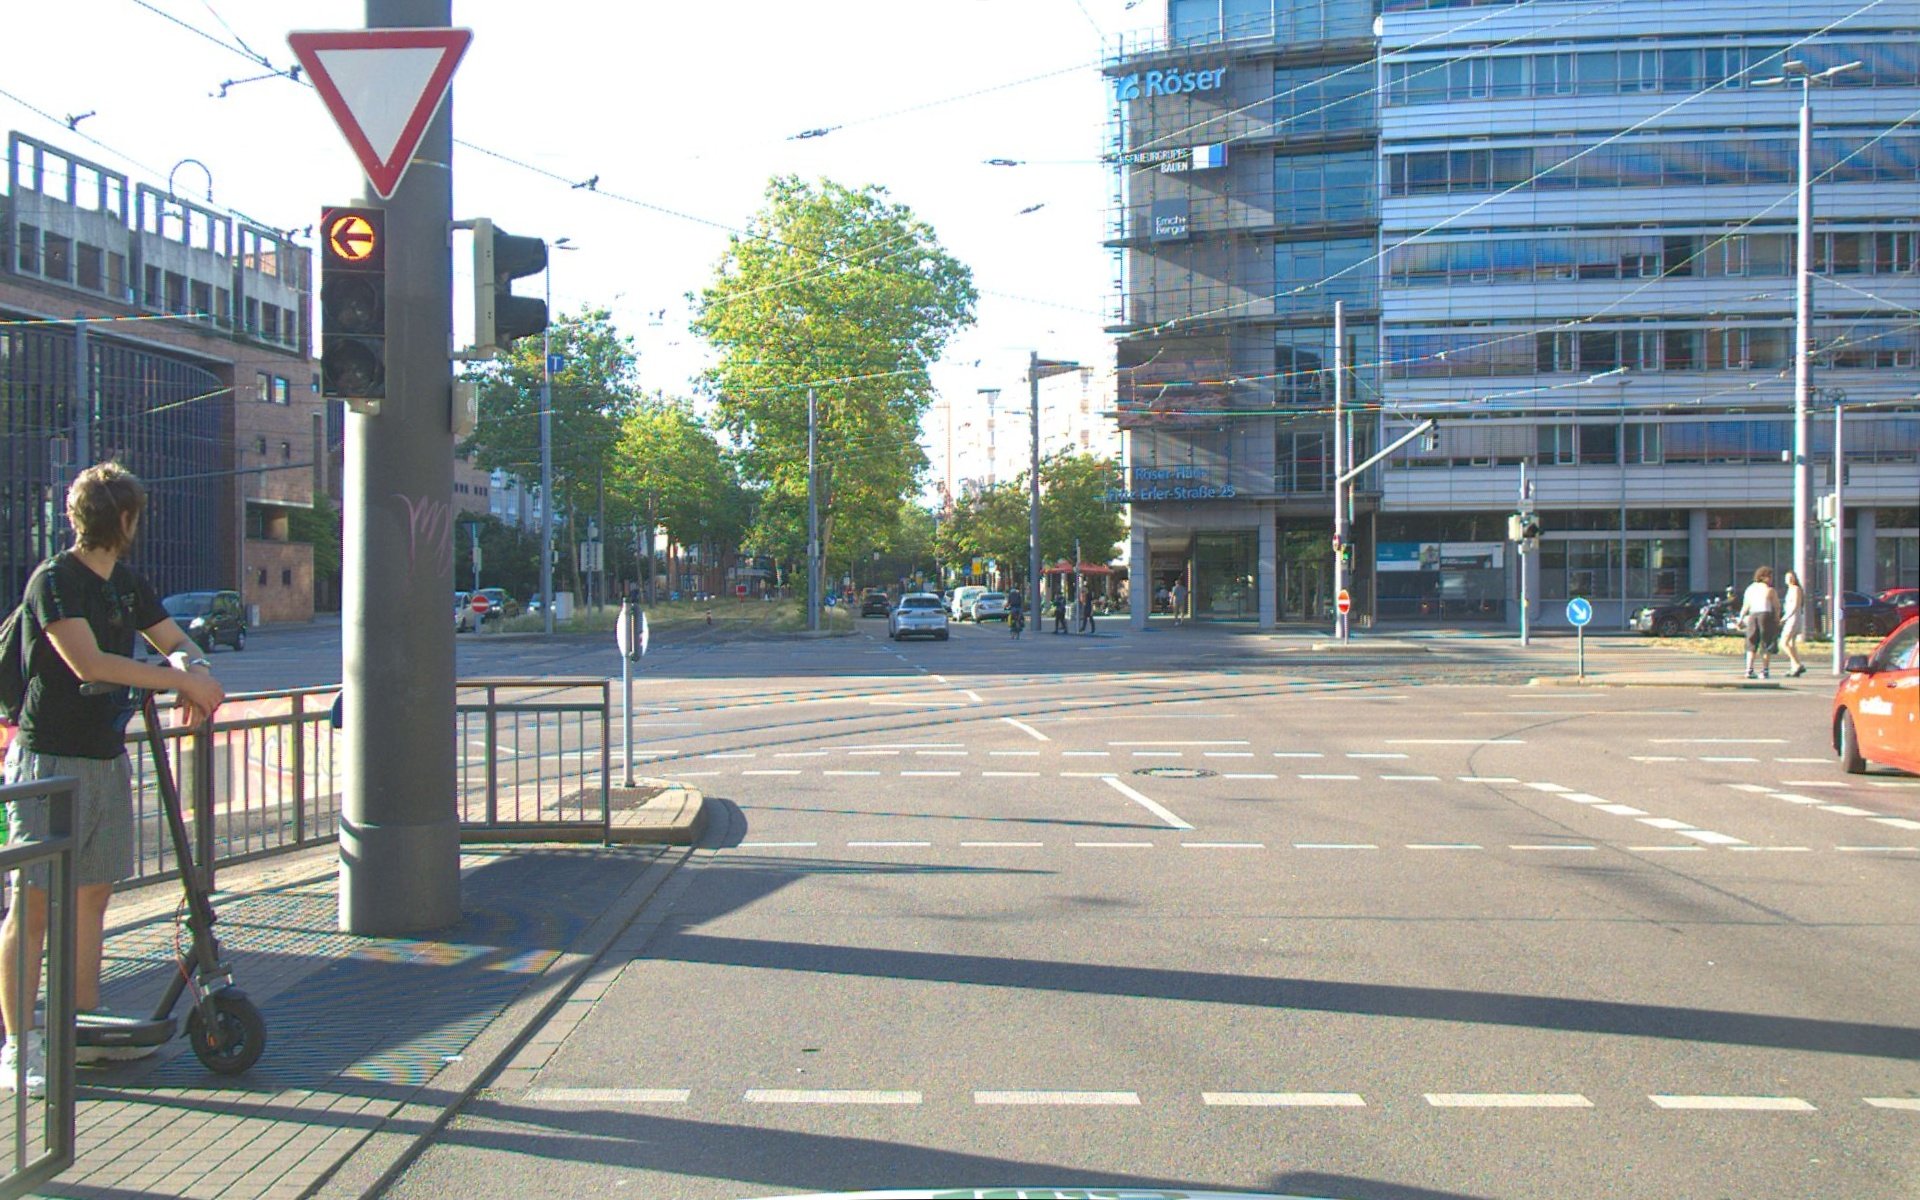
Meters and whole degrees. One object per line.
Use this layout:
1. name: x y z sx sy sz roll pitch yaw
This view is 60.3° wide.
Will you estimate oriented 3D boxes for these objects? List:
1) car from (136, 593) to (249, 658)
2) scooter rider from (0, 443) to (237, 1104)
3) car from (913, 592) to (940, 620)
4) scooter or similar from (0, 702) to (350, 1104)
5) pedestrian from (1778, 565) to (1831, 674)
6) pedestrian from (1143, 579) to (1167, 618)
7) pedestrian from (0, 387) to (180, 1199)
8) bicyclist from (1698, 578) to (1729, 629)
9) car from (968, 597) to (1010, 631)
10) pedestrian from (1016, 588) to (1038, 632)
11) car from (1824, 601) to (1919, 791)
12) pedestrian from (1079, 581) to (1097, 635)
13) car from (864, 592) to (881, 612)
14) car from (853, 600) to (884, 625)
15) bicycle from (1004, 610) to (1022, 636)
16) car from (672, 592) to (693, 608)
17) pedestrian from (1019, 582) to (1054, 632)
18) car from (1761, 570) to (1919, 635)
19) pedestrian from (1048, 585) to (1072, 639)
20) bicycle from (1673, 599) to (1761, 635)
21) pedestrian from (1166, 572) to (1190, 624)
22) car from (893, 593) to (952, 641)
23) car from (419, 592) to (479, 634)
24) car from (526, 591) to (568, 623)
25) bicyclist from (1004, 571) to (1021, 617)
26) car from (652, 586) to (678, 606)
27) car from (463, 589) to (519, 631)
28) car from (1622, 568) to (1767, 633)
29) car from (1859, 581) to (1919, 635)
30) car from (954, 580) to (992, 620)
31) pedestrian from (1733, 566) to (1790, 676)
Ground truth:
1. car: -22.225 0.698 48.041 1.832 1.793 3.993 1 0 -8
2. scooter rider: -2.666 0.501 5.082 0.554 1.885 0.680 -1 -2 4
3. car: -2.564 0.467 126.851 1.953 2.049 3.999 1 0 -1
4. scooter or similar: -2.589 0.891 5.066 1.177 1.100 0.648 -1 0 3
5. pedestrian: 14.133 0.321 27.702 0.724 1.789 0.685 -1 0 24
6. pedestrian: 11.113 -0.083 94.259 1.285 2.228 1.171 -1 -1 5
7. pedestrian: -2.726 0.479 4.089 1.143 1.917 0.854 -1 0 4
8. bicyclist: 22.725 0.110 49.899 0.649 1.529 0.613 -1 0 4
9. car: 1.428 0.702 82.871 1.988 1.624 3.999 1 0 -1
10. pedestrian: 2.713 0.398 66.984 0.852 1.737 0.793 1 -1 -1
11. car: 8.404 0.763 13.499 1.458 1.485 3.600 1 0 12
12. pedestrian: 4.861 0.301 62.807 0.574 2.049 0.620 1 -1 0
13. car: -11.383 0.277 215.811 1.952 2.049 3.999 1 -9 0
14. car: -5.600 0.750 100.861 1.729 1.429 4.292 0 0 -5
15. bicycle: 1.694 0.738 53.242 0.481 0.802 1.861 1 0 -1
16. car: -33.071 -0.029 197.037 1.871 1.814 3.999 -1 0 -1
17. pedestrian: 3.060 0.289 66.291 1.315 1.984 1.011 0 0 -1
18. car: 25.320 0.056 47.051 4.165 1.753 1.885 -1 0 2
19. pedestrian: 3.856 0.468 63.995 0.832 2.049 0.707 1 -1 -2
20. bicycle: 22.827 0.506 49.896 2.359 1.040 0.637 -1 0 4
21. pedestrian: 8.800 -0.065 66.840 0.852 2.049 0.793 1 -2 -1
22. car: -1.162 0.519 53.148 1.712 1.443 4.001 0 0 1
23. car: -20.641 0.505 66.964 1.591 1.604 3.994 -1 0 -7
24. car: -22.271 0.382 89.220 1.644 1.635 3.994 1 0 -7
25. bicyclist: 1.695 -0.189 53.264 0.477 1.465 0.615 1 0 -1
26. car: -31.919 -0.453 179.241 1.837 2.049 4.472 -1 0 2
27. car: -21.126 0.433 74.577 1.787 1.821 3.994 -1 0 -7
28. car: 24.311 0.035 54.821 3.906 2.049 2.000 1 0 -1
29. car: 29.420 0.278 49.645 3.903 1.579 1.798 1 0 4
30. car: 0.684 0.005 89.616 1.953 2.049 3.999 1 0 -1
31. pedestrian: 13.284 0.341 27.428 0.663 1.789 0.742 -1 0 11
